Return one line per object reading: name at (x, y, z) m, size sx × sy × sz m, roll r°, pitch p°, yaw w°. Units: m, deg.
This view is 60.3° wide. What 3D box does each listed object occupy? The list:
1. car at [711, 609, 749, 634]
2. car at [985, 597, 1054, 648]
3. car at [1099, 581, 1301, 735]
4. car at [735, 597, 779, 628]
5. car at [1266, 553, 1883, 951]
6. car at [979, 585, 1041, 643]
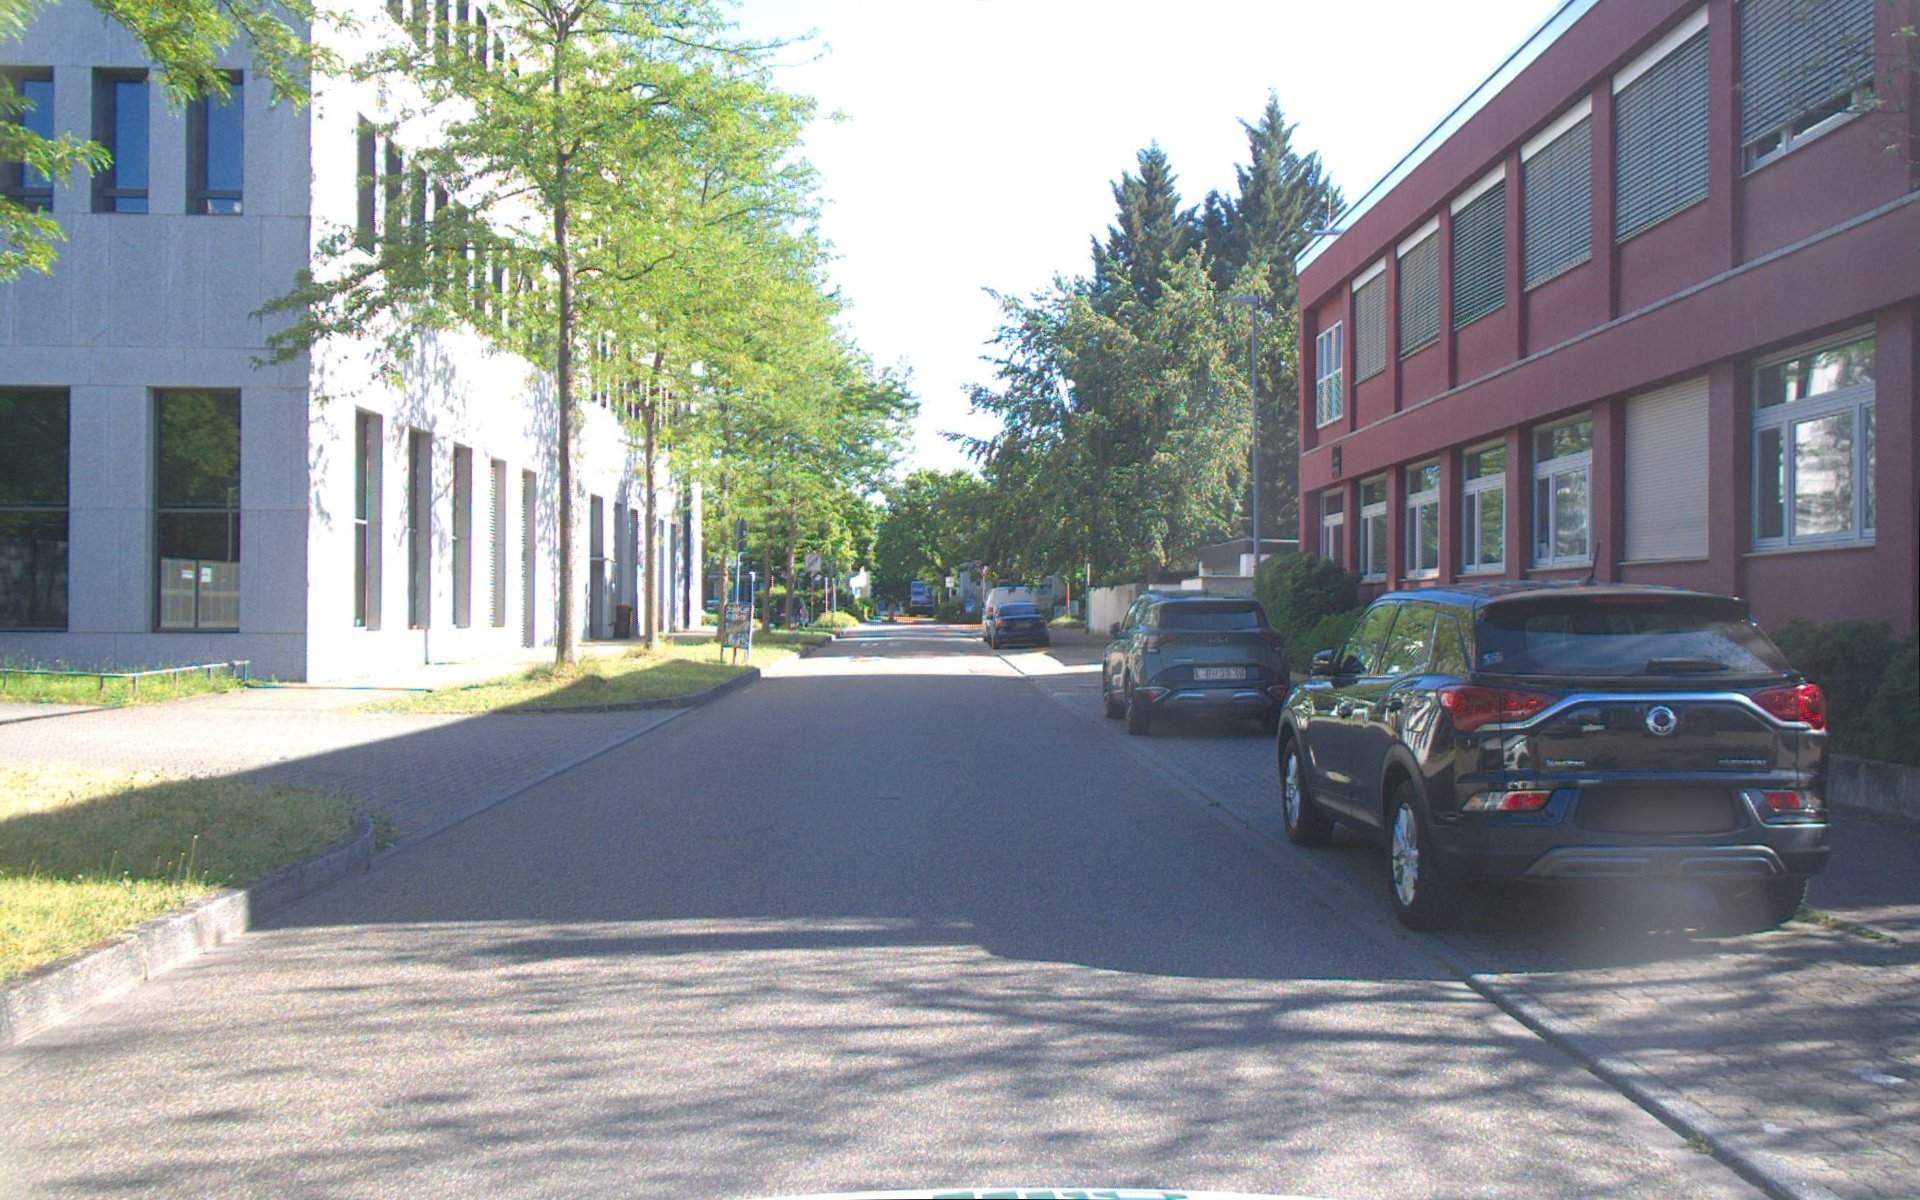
car at (-13.076, 1.195, 94.226) m, size 1.868 × 1.365 × 3.790 m, roll 0°, pitch 0°, yaw -4°
car at (1.862, 0.703, 52.791) m, size 1.953 × 1.467 × 3.999 m, roll -3°, pitch 0°, yaw -1°
car at (2.800, 0.653, 20.129) m, size 1.817 × 1.677 × 3.999 m, roll 0°, pitch 0°, yaw -1°
car at (-10.205, 0.618, 83.316) m, size 1.954 × 1.483 × 3.790 m, roll 0°, pitch 0°, yaw -4°
car at (2.975, 0.647, 9.057) m, size 1.800 × 1.662 × 4.200 m, roll 0°, pitch 0°, yaw 0°
car at (1.737, 0.478, 58.526) m, size 1.953 × 1.866 × 3.999 m, roll -3°, pitch 0°, yaw -1°
